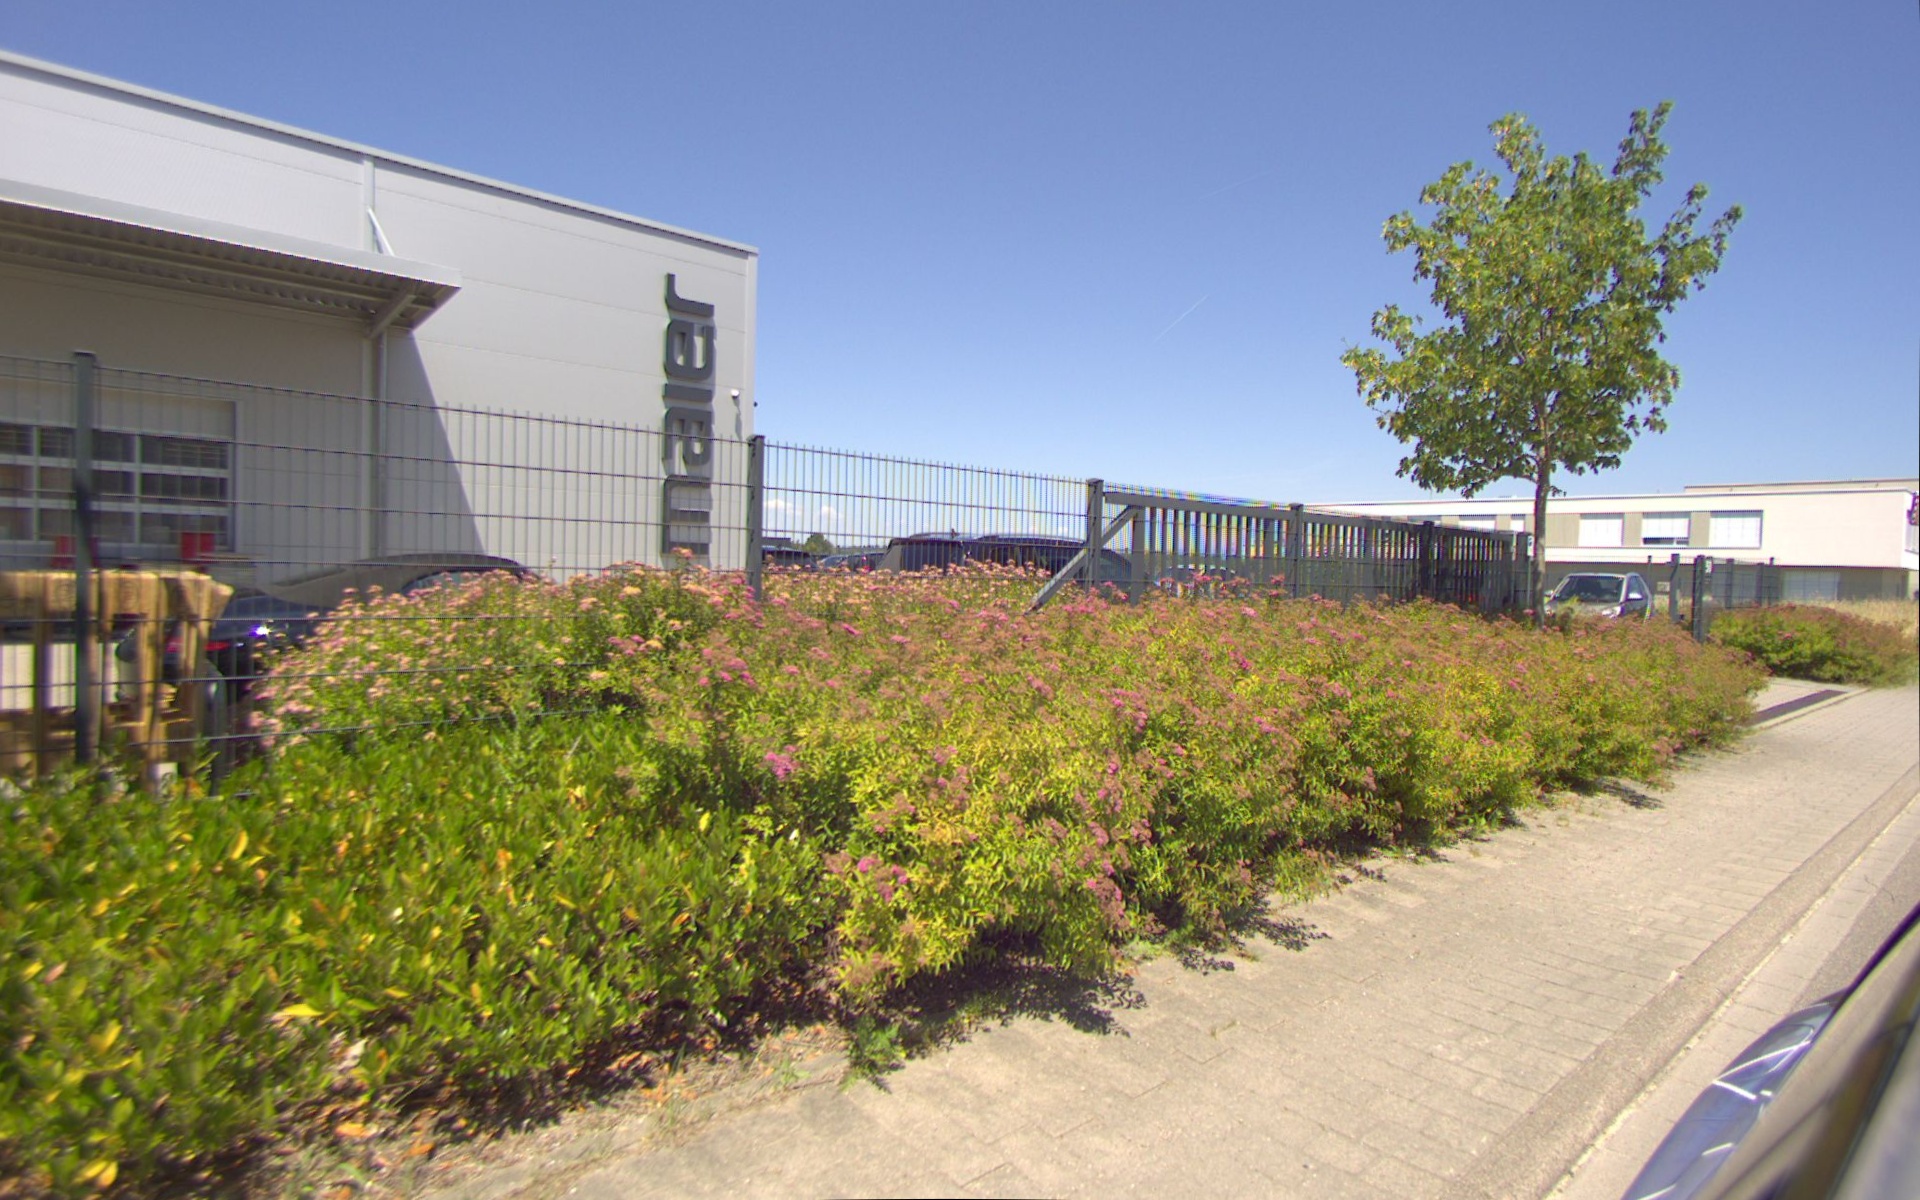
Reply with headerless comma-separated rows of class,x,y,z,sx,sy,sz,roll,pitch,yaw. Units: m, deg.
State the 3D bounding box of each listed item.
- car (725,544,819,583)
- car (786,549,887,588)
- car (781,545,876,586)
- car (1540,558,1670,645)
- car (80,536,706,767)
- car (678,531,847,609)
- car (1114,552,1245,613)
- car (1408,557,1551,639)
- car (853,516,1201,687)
car,-7.838,-1.518,42.265,3.586,1.545,1.529,-1,4,-42
car,-4.621,-1.187,38.108,3.586,1.365,1.529,-1,4,-42
car,-5.269,-1.399,40.806,3.586,1.545,1.529,-1,4,-42
car,12.927,-0.013,20.256,2.615,1.593,1.470,-1,4,-41
car,-4.017,0.221,7.549,3.812,1.287,1.621,-1,4,-41
car,-4.235,-0.664,21.263,1.675,1.396,3.996,2,2,-41
car,5.674,-0.476,25.958,3.480,1.414,1.517,-1,4,-42
car,10.769,-0.089,20.911,3.275,1.514,1.517,-1,4,-42
car,0.817,-0.022,11.137,3.514,1.571,1.813,1,3,-41
